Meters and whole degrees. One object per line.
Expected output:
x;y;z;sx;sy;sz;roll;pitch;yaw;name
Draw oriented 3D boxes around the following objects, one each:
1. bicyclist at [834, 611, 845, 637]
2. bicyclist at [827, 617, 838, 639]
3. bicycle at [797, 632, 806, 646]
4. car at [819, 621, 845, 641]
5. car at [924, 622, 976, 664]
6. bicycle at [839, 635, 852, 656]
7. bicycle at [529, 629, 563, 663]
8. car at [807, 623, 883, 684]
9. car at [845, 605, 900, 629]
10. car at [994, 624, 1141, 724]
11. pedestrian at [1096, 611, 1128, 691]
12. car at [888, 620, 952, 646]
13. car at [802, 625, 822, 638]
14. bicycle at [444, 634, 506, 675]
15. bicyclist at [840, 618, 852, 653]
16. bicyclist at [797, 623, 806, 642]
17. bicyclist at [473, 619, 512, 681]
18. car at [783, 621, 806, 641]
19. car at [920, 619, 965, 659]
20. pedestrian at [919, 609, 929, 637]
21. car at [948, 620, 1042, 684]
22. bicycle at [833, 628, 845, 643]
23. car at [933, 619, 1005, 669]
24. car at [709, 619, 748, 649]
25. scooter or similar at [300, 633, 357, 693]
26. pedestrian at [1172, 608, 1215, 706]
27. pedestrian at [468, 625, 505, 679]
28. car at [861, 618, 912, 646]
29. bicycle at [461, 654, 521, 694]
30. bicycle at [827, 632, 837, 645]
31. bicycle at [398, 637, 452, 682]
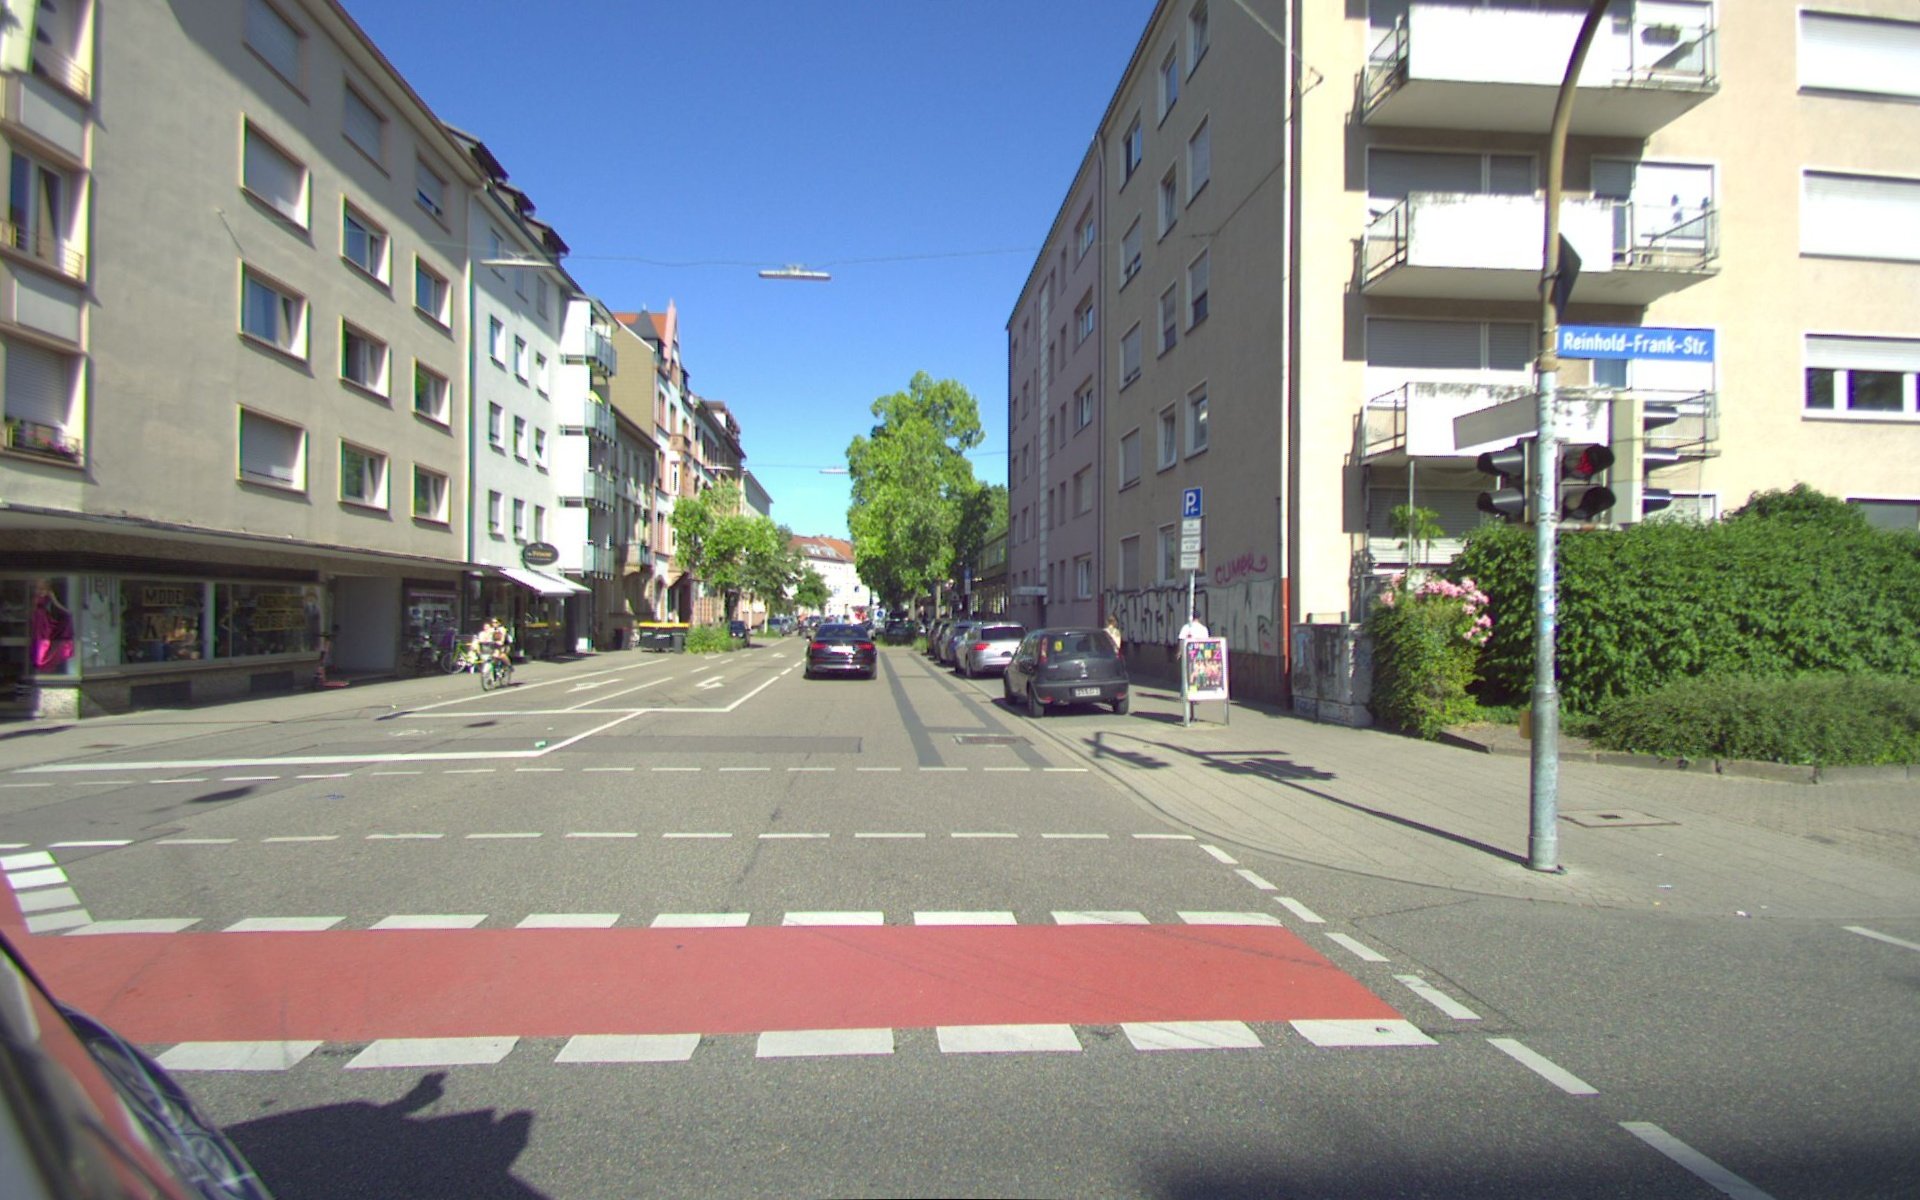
-7.786;1.553;65.143;0.671;1.643;0.900;0;-1;-5;bicyclist
-9.429;2.060;74.880;0.671;1.588;0.900;2;-1;-5;bicyclist
-11.396;2.798;72.718;0.536;0.909;1.828;0;-1;-5;bicycle
-9.974;2.417;79.177;1.883;1.564;4.005;0;-1;-6;car
-0.443;1.618;39.198;1.702;1.478;4.161;-2;-1;-4;car
-5.154;2.058;45.591;0.536;0.909;1.828;0;-1;-5;bicycle
-14.945;1.662;36.559;0.589;1.152;1.776;3;-2;-5;bicycle
-3.094;1.356;26.839;1.782;1.423;4.433;2;-1;-8;car
-9.026;1.796;104.501;5.470;2.411;1.983;0;-1;-12;car
1.722;1.175;17.518;1.670;1.459;3.862;-2;-1;-7;car
3.080;1.030;20.528;0.525;1.593;0.563;0;-1;-4;pedestrian
-2.489;2.040;62.927;3.941;1.564;1.914;0;-1;-2;car
-14.229;3.011;97.466;1.604;1.287;3.550;0;-1;-4;car
-13.806;1.547;28.842;1.471;1.115;0.725;1;-2;-37;bicycle
-5.164;1.603;45.746;0.536;1.532;0.775;0;-1;-5;bicyclist
-11.397;2.334;72.719;0.536;1.402;0.789;0;-1;-5;bicyclist
-10.608;1.131;22.984;0.575;1.387;0.664;0;-1;0;bicyclist
-13.596;2.553;83.420;1.604;1.608;3.551;0;-1;-5;car
-0.828;1.675;44.365;1.702;1.588;4.161;-2;-1;-4;car
-2.289;1.463;64.542;0.614;1.820;0.503;0;-1;-4;pedestrian
0.859;1.357;27.765;1.801;1.515;4.808;-2;-1;-7;car
-7.774;2.270;65.146;0.671;0.959;1.936;0;-1;-5;bicycle
0.216;1.442;34.255;1.801;1.515;4.808;-2;-1;-7;car
-12.587;1.841;55.171;1.604;1.608;3.551;0;-1;-5;car
-13.523;1.322;21.701;0.519;1.234;1.230;0;-1;-5;scooter or similar
4.134;0.997;17.969;0.566;1.702;0.670;0;-1;-4;pedestrian
-12.834;1.398;27.436;0.763;1.453;0.626;0;-1;-10;pedestrian
-5.567;2.414;77.006;3.822;2.058;1.914;0;-1;-3;car
-10.609;1.656;22.939;0.575;0.812;1.709;0;-1;-1;bicycle
-9.479;2.855;74.988;0.671;0.959;1.936;2;-1;-5;bicycle
-13.905;1.518;26.352;0.402;1.093;1.800;3;-2;0;bicycle
